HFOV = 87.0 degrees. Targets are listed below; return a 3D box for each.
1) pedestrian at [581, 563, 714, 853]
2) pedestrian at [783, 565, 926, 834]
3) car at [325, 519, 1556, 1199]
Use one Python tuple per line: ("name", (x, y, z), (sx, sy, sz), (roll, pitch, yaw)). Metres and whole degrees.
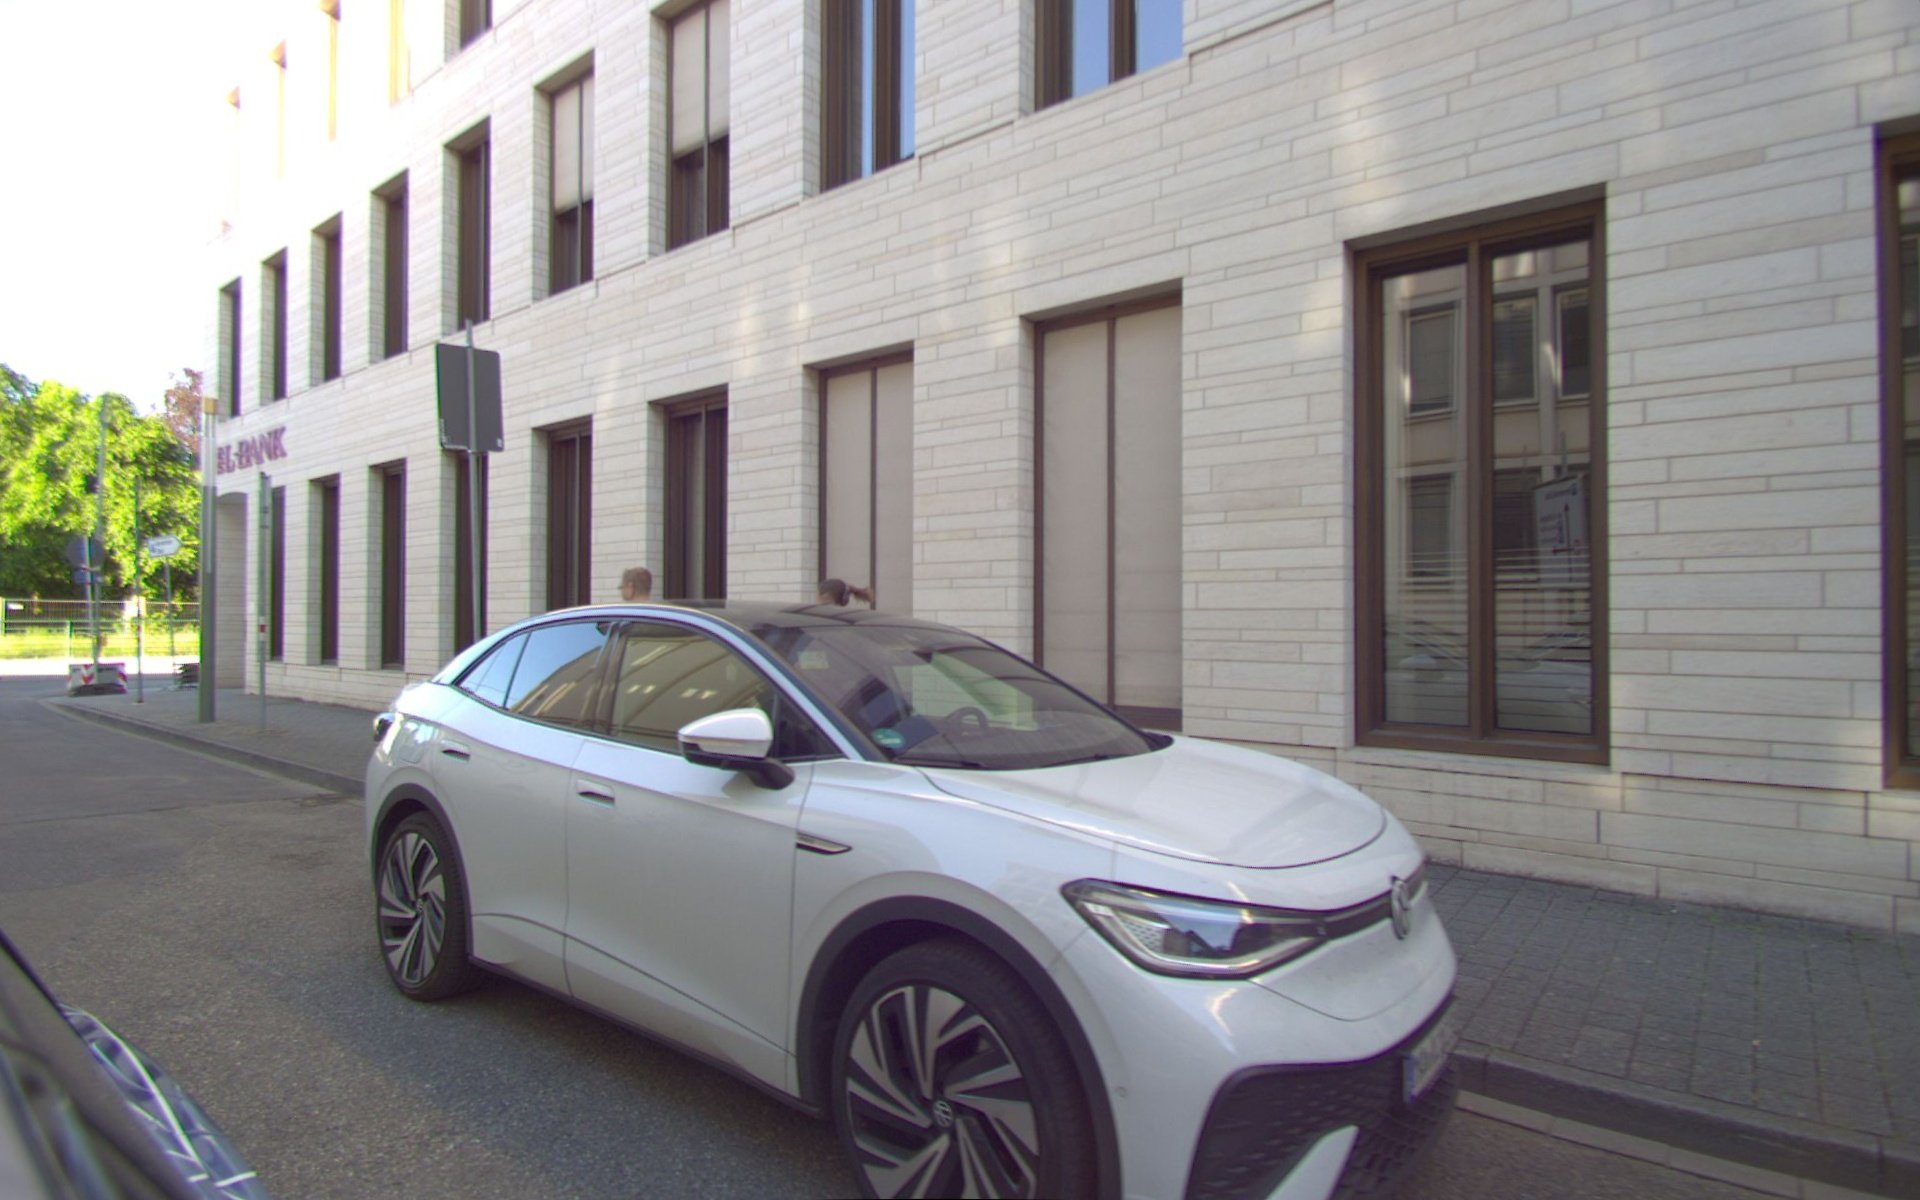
("pedestrian", (-2.073, 0.673, 6.726), (0.575, 1.803, 0.635), (0, 0, 39))
("pedestrian", (-0.760, 0.665, 7.289), (0.816, 1.803, 0.637), (0, 0, 39))
("car", (-0.505, 0.680, 3.753), (4.442, 1.553, 1.804), (-2, 0, 39))
